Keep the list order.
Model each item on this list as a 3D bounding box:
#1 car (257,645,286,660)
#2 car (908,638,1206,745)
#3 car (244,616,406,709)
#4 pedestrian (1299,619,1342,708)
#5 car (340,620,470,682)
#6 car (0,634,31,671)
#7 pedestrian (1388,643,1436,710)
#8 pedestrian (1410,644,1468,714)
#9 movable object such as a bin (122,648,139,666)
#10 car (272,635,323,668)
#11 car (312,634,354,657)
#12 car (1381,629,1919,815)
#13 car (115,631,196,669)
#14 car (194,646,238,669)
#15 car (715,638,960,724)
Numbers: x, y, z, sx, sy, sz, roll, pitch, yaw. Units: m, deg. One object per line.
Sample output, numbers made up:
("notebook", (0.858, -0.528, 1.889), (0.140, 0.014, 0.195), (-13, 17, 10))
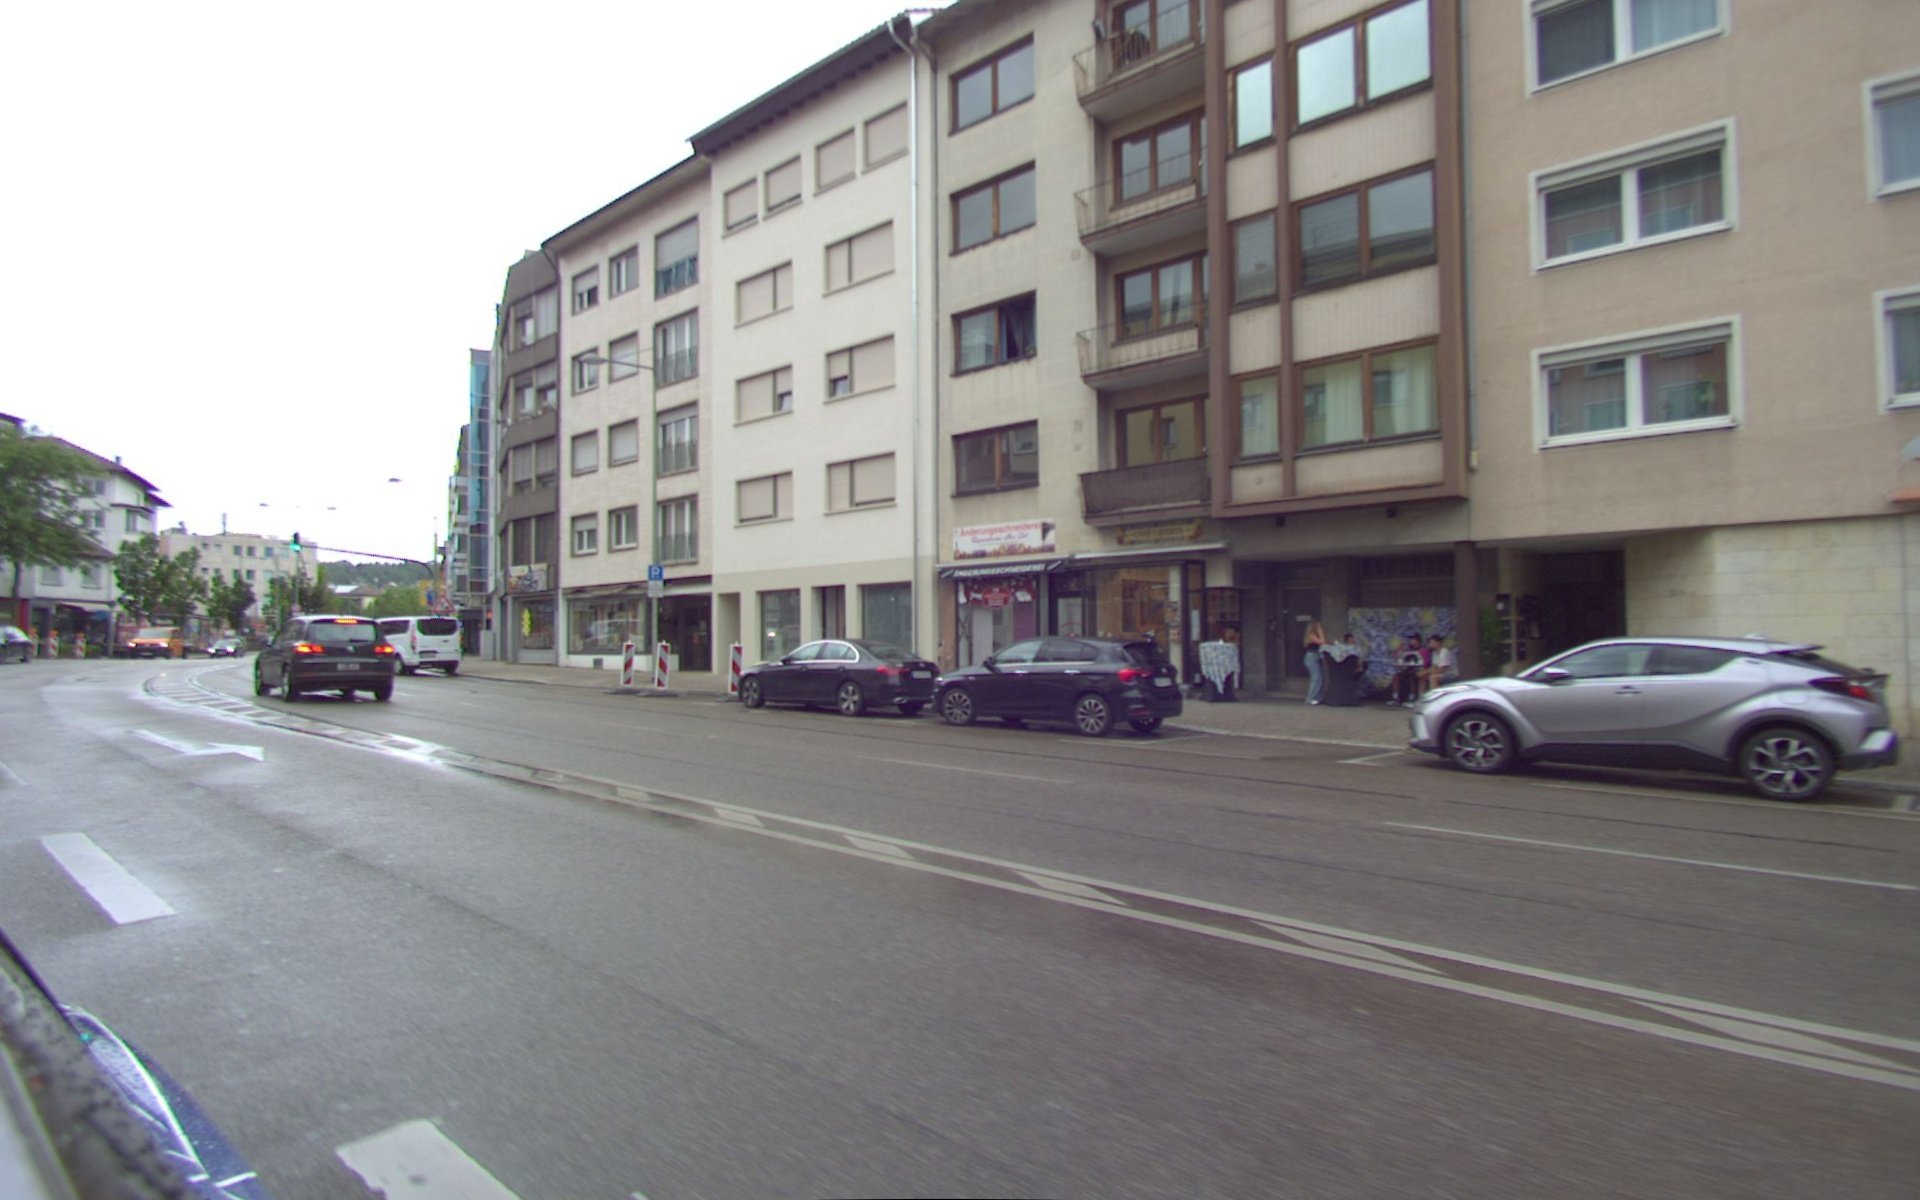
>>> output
("car", (-65.358, 4.972, 96.082), (1.783, 1.352, 4.013), (-1, -1, -27))
("car", (1.479, 1.372, 16.437), (4.514, 1.488, 1.974), (-2, -3, 39))
("car", (-12.863, 1.214, 20.380), (1.840, 1.660, 4.256), (4, -4, -44))
("pedestrian", (6.633, 1.154, 18.608), (0.666, 1.595, 0.539), (-1, -2, 28))
("car", (-20.043, 1.759, 36.455), (5.118, 2.029, 2.100), (-1, 0, 36))
("car", (-37.272, 2.003, 38.486), (1.782, 1.350, 4.291), (2, -5, -28))
("pedestrian", (8.154, 1.370, 18.262), (0.632, 1.157, 0.601), (-2, -2, 42))
("pedestrian", (8.288, 1.350, 17.508), (0.663, 1.157, 0.597), (0, -2, -21))
("movable object such as a bin", (-51.511, 3.532, 62.819), (0.570, 1.120, 0.667), (3, -5, -21))
("car", (-32.014, 2.505, 48.974), (1.660, 1.484, 4.012), (4, -4, -28))
("car", (-42.616, 3.076, 68.863), (1.955, 1.470, 4.499), (3, -4, -27))
("car", (7.182, 1.114, 10.788), (4.631, 1.566, 1.886), (-1, -4, 44))
("car", (-47.332, 2.915, 59.705), (2.162, 2.102, 5.952), (0, -2, -23))
("car", (-54.768, 4.209, 74.554), (1.812, 1.453, 4.013), (-1, -1, -25))
("car", (-2.517, 1.512, 19.918), (4.974, 1.488, 1.863), (-2, -4, 40))
